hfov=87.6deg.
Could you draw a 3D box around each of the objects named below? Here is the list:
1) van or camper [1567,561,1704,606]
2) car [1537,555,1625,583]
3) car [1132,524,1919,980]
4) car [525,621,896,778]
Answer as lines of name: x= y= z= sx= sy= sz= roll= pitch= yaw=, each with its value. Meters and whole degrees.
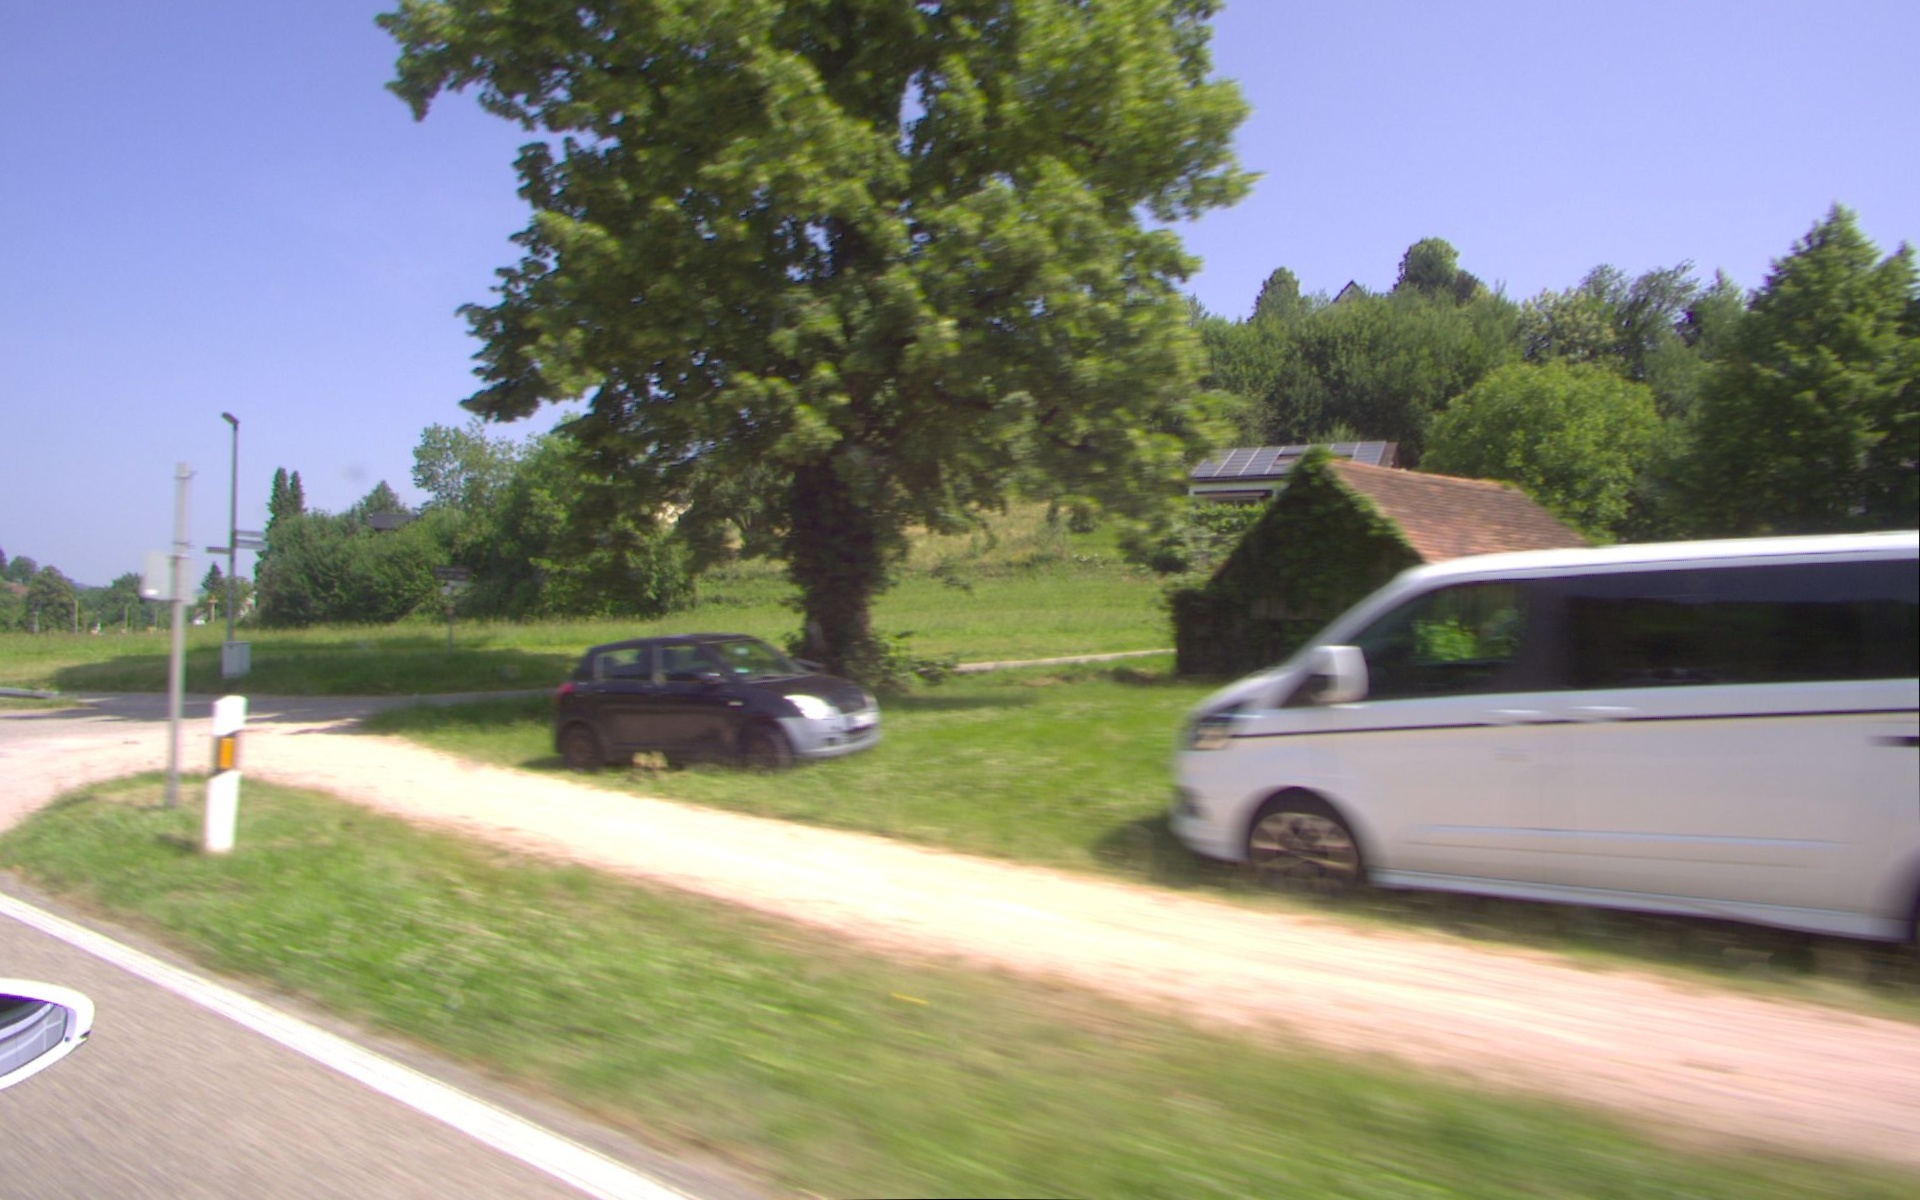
van or camper: x=32.388 y=-0.747 z=48.206 sx=5.361 sy=1.974 sz=2.803 roll=-1 pitch=-1 yaw=34
car: x=38.408 y=-1.919 z=62.063 sx=4.382 sy=1.635 sz=1.920 roll=1 pitch=0 yaw=25
car: x=3.608 y=0.601 z=5.569 sx=4.803 sy=1.874 sz=1.992 roll=-1 pitch=3 yaw=35
car: x=-2.740 y=1.043 z=11.100 sx=3.652 sy=1.476 sz=1.675 roll=-2 pitch=0 yaw=21
